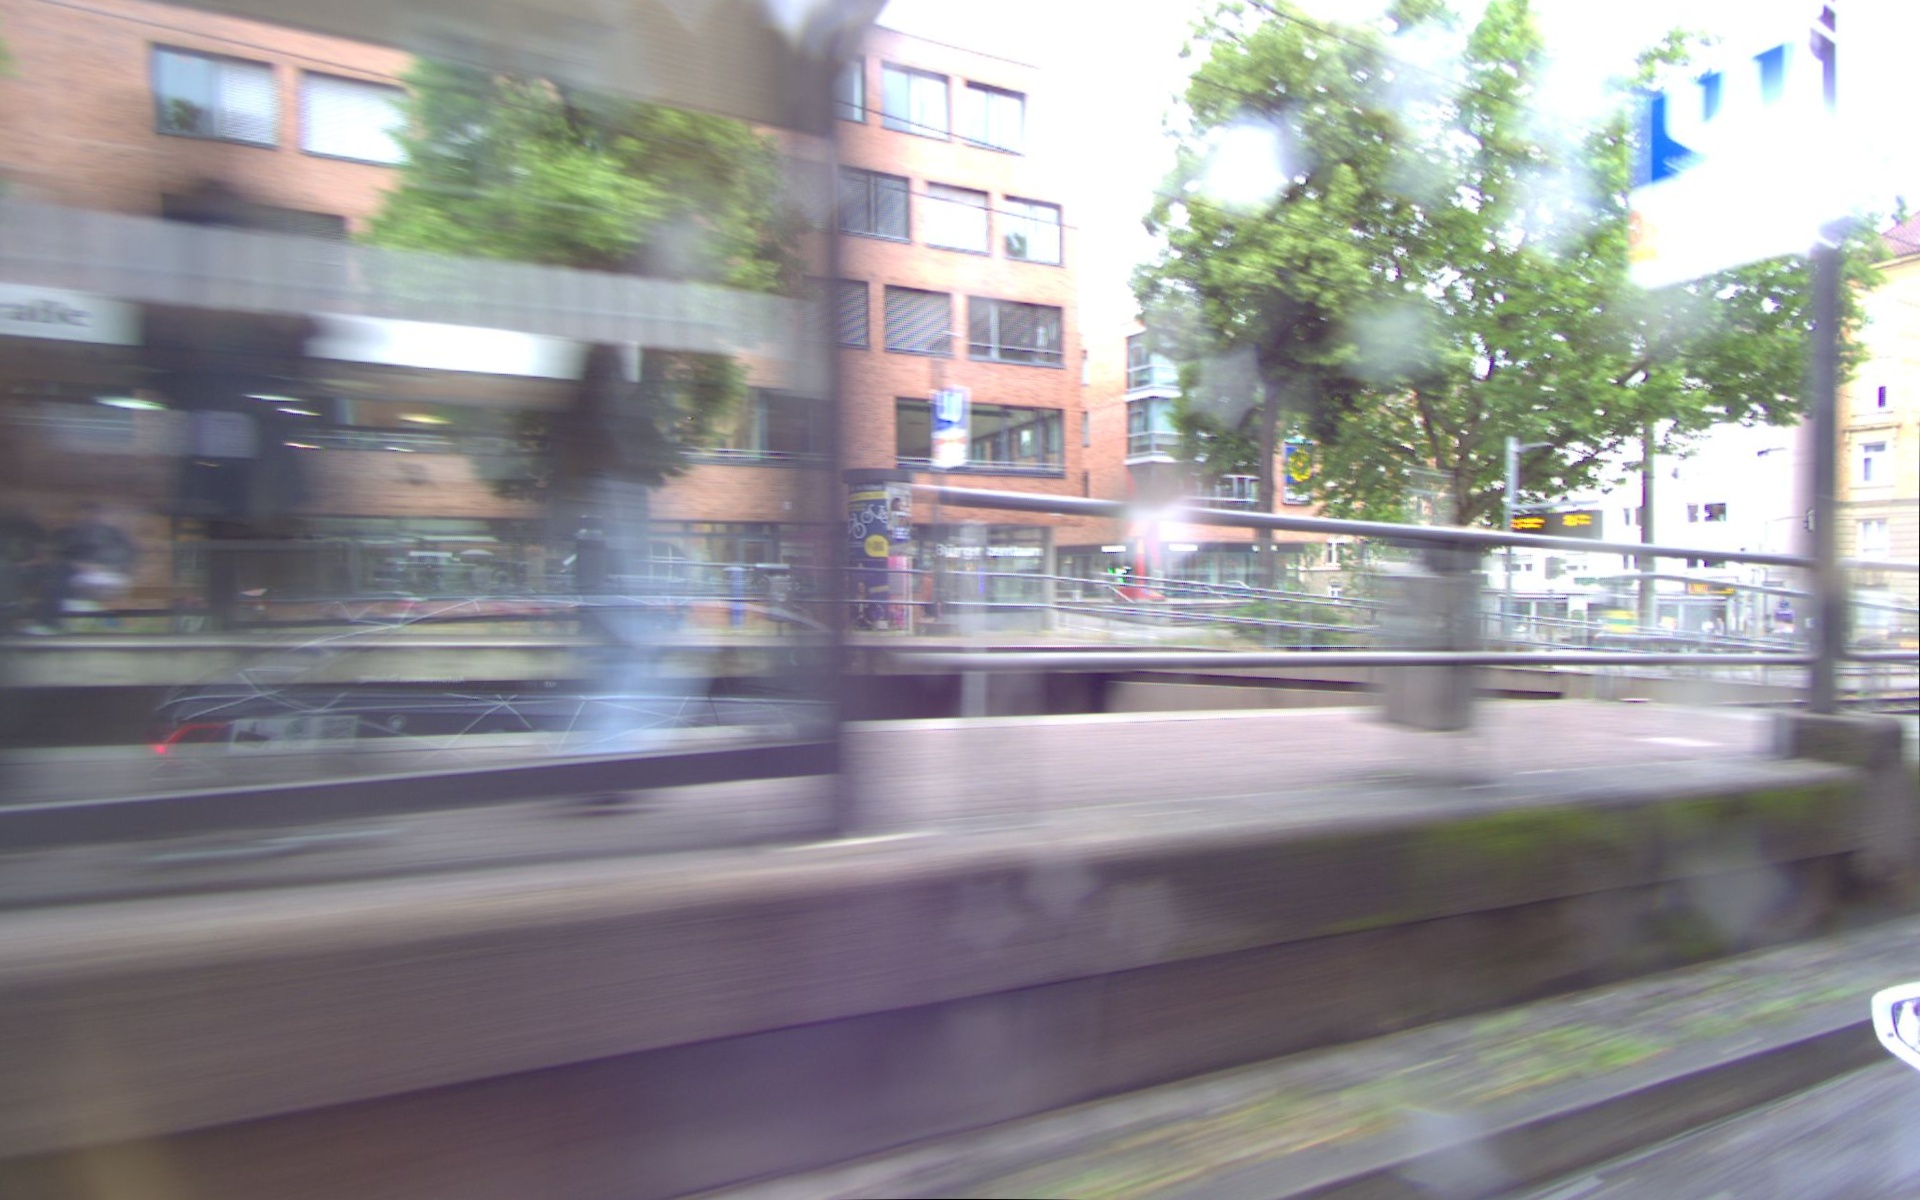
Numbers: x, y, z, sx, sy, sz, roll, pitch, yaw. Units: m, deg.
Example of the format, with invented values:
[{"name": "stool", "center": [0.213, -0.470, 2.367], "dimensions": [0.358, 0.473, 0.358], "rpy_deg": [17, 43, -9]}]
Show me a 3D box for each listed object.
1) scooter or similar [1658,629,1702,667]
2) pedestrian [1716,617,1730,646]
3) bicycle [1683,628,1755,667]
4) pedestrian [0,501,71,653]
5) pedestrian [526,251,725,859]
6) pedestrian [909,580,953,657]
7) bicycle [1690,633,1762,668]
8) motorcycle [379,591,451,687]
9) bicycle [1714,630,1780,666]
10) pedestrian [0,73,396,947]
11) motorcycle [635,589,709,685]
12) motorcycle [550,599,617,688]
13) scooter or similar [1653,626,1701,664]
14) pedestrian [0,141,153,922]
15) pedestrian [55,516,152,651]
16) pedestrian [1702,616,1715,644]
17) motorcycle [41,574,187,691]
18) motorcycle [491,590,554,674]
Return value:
[{"name": "scooter or similar", "center": [23.420, 1.561, 32.678], "dimensions": [1.090, 1.211, 0.362], "rpy_deg": [1, 0, 14]}, {"name": "pedestrian", "center": [44.121, 1.797, 58.097], "dimensions": [0.508, 1.643, 0.486], "rpy_deg": [1, 0, 26]}, {"name": "bicycle", "center": [25.261, 1.579, 33.459], "dimensions": [0.513, 1.211, 1.858], "rpy_deg": [1, 0, -35]}, {"name": "pedestrian", "center": [-8.882, -0.216, 9.472], "dimensions": [0.557, 1.381, 0.774], "rpy_deg": [0, 1, -27]}, {"name": "pedestrian", "center": [-1.015, -0.115, 3.030], "dimensions": [0.500, 1.602, 0.612], "rpy_deg": [1, 0, -21]}, {"name": "pedestrian", "center": [-0.793, 0.486, 27.076], "dimensions": [0.966, 2.040, 0.731], "rpy_deg": [1, 0, -21]}, {"name": "bicycle", "center": [26.017, 1.702, 34.146], "dimensions": [0.513, 1.076, 1.858], "rpy_deg": [1, 0, -36]}, {"name": "motorcycle", "center": [-10.256, 0.651, 19.024], "dimensions": [0.993, 1.627, 3.851], "rpy_deg": [1, 0, -26]}, {"name": "bicycle", "center": [27.582, 1.668, 35.222], "dimensions": [0.513, 1.158, 1.755], "rpy_deg": [1, 0, -35]}, {"name": "pedestrian", "center": [-1.716, -0.172, 2.360], "dimensions": [0.578, 1.710, 0.612], "rpy_deg": [1, 0, -22]}, {"name": "motorcycle", "center": [-6.070, 0.709, 21.023], "dimensions": [0.980, 1.840, 3.026], "rpy_deg": [1, 0, -26]}, {"name": "motorcycle", "center": [-7.765, 0.831, 20.591], "dimensions": [0.993, 1.649, 3.048], "rpy_deg": [1, 0, -26]}, {"name": "scooter or similar", "center": [23.682, 1.491, 33.186], "dimensions": [1.226, 1.211, 0.299], "rpy_deg": [1, 0, 14]}, {"name": "pedestrian", "center": [-2.262, -0.143, 2.273], "dimensions": [0.500, 1.602, 0.612], "rpy_deg": [1, 0, -21]}, {"name": "pedestrian", "center": [-8.335, -0.162, 9.805], "dimensions": [0.557, 1.257, 0.701], "rpy_deg": [0, 1, -27]}, {"name": "pedestrian", "center": [43.702, 1.756, 58.654], "dimensions": [0.508, 1.643, 0.486], "rpy_deg": [1, 0, 26]}, {"name": "motorcycle", "center": [-14.483, 0.484, 17.361], "dimensions": [0.993, 1.797, 3.851], "rpy_deg": [1, 0, -26]}, {"name": "motorcycle", "center": [-8.819, 0.566, 20.139], "dimensions": [0.993, 1.507, 3.851], "rpy_deg": [1, 0, -26]}]
